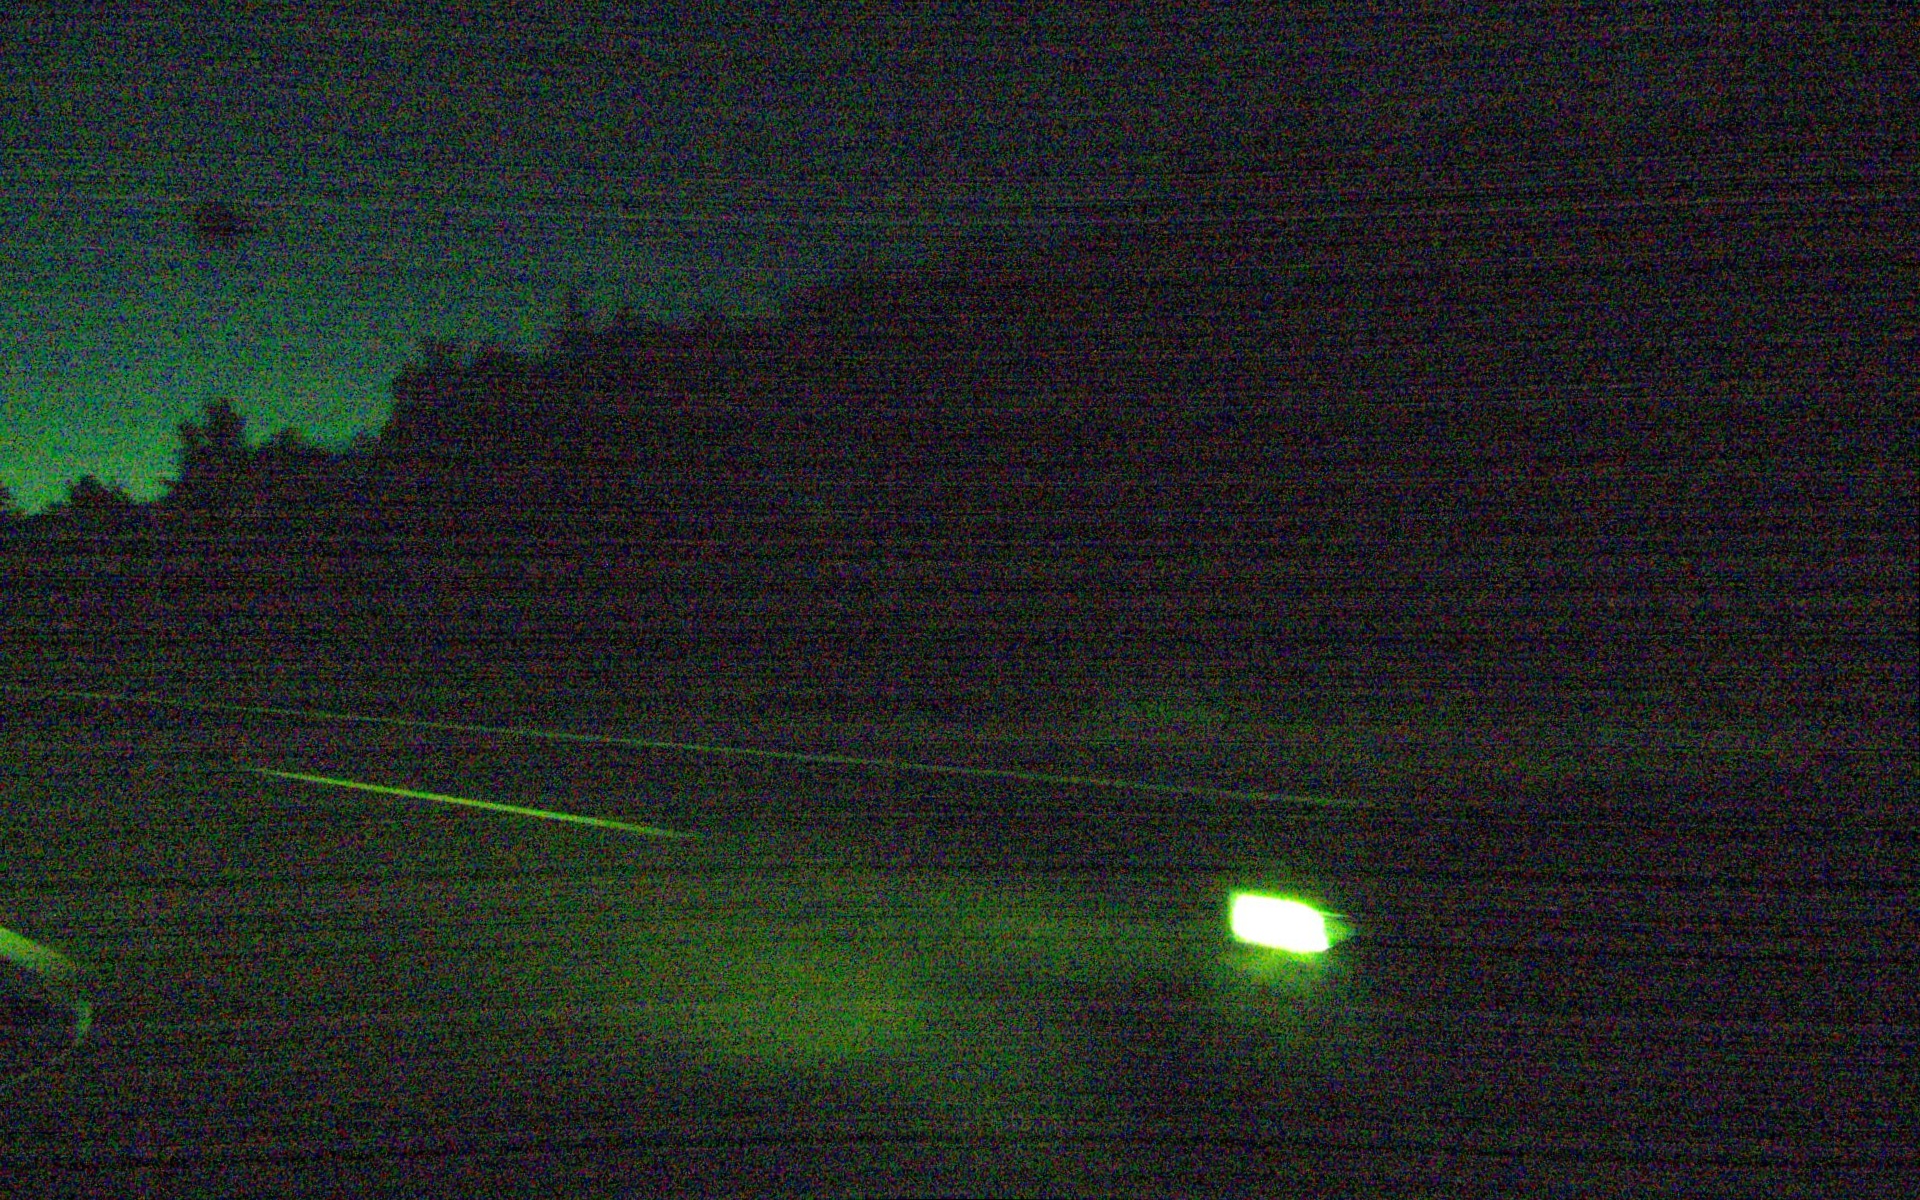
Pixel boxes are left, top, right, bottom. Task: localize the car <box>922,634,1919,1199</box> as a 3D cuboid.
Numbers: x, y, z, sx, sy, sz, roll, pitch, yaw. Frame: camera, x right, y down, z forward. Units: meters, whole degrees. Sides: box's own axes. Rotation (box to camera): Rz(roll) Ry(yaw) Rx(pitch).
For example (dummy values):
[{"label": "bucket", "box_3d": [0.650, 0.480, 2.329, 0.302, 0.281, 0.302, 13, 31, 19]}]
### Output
[{"label": "car", "box_3d": [2.500, 0.829, 2.600, 4.992, 1.419, 1.833, 0, -1, 29]}]
